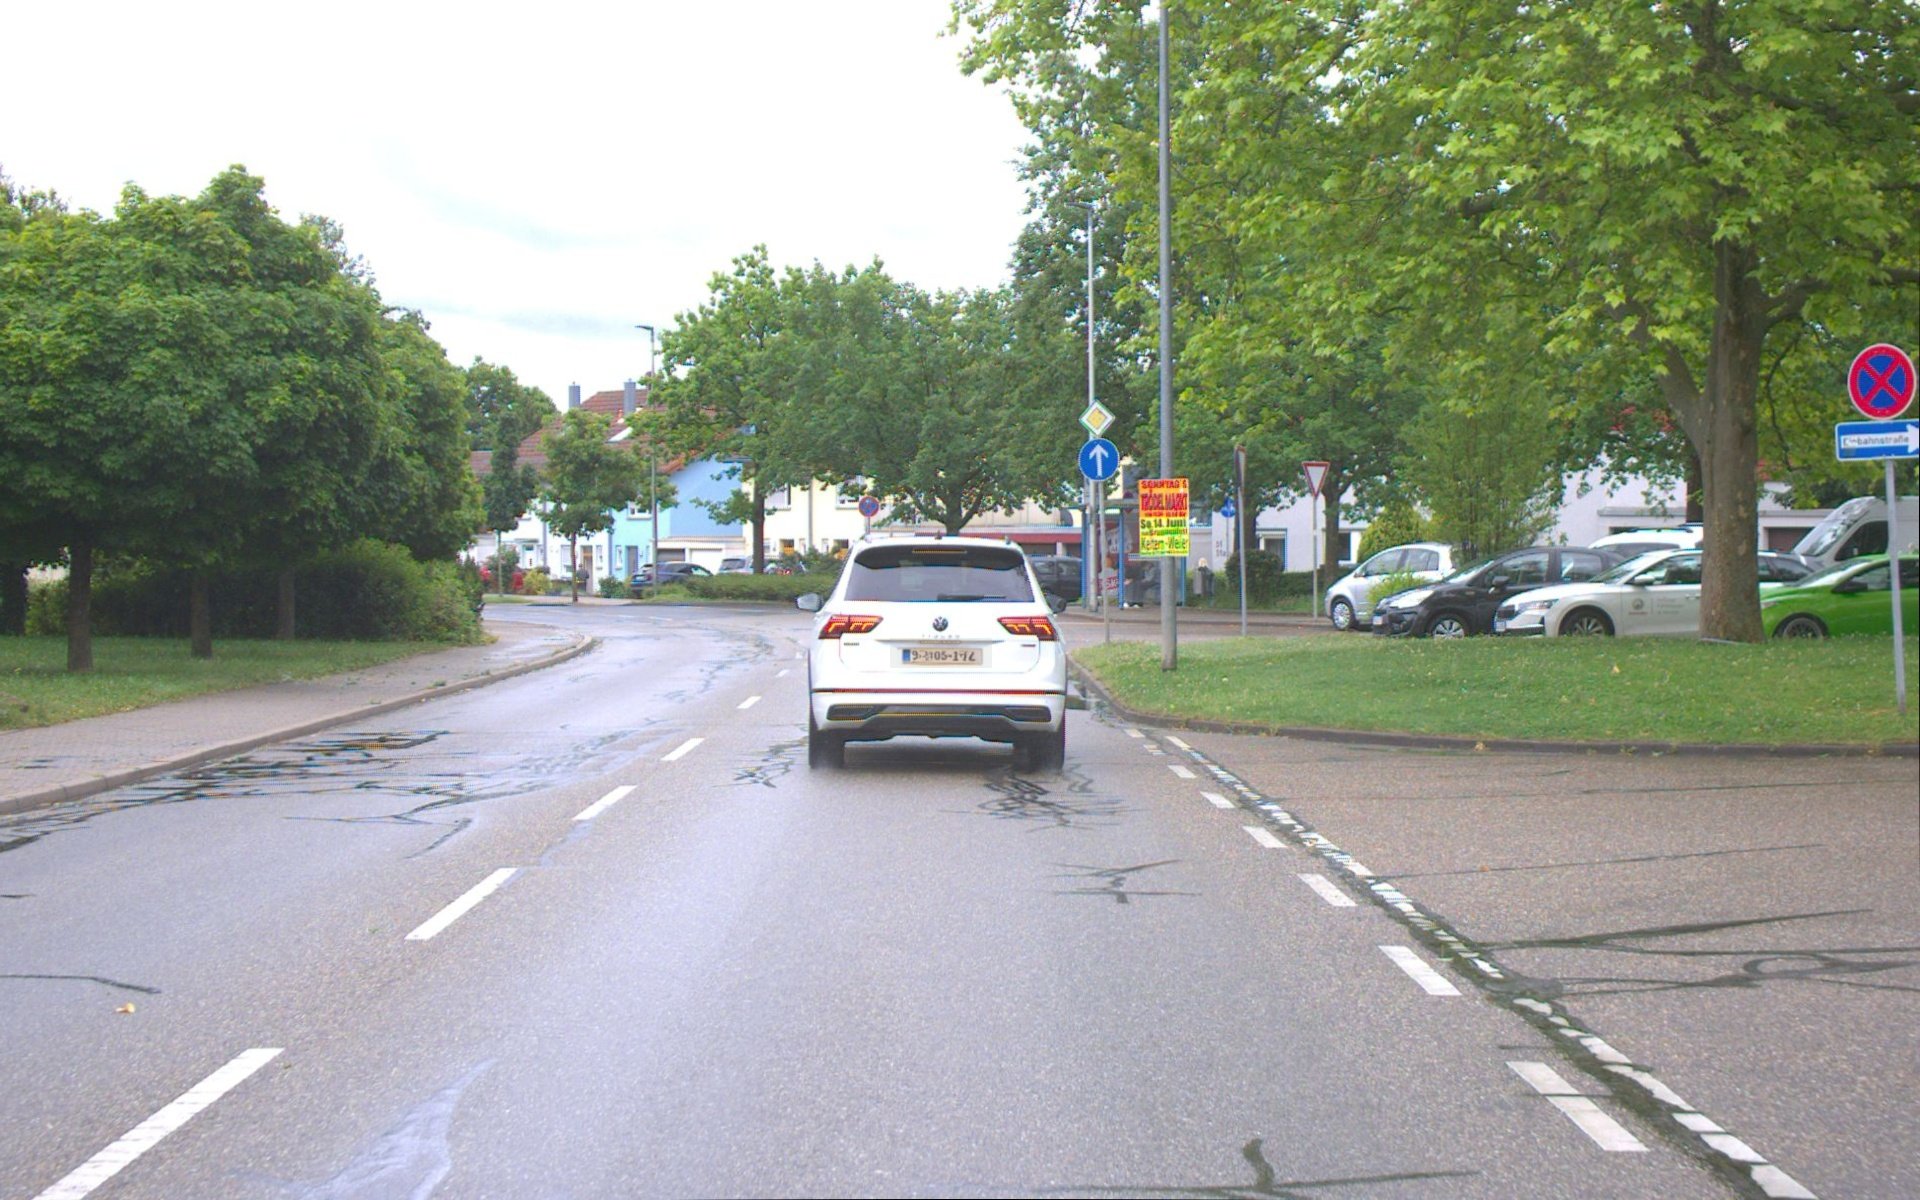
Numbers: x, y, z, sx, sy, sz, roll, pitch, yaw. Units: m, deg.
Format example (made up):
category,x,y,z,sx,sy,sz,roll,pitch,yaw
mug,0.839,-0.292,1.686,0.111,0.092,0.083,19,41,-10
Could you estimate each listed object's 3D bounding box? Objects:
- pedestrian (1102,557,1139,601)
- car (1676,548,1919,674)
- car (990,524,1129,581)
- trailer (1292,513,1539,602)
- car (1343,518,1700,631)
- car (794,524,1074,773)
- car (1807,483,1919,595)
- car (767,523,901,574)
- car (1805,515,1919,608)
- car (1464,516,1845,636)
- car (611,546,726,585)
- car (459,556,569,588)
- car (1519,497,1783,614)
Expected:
category,x,y,z,sx,sy,sz,roll,pitch,yaw
pedestrian,3.703,-0.482,79.505,0.748,1.008,0.551,-1,1,-9
car,11.072,0.104,42.441,4.009,1.438,1.765,-1,1,-6
car,3.109,-1.480,107.120,3.988,1.715,1.924,-1,1,-36
trailer,8.226,-0.774,62.424,1.994,1.537,4.425,-2,2,-34
car,7.754,-0.370,47.690,4.572,1.438,1.765,-1,1,-6
car,-0.182,0.288,25.383,1.865,1.645,4.000,-1,1,0
car,18.945,-1.195,64.065,5.818,2.007,2.001,-1,1,-11
car,-4.321,-1.783,118.213,4.180,1.666,1.991,-1,1,-34
car,14.946,-0.587,51.728,1.760,1.378,4.186,-1,1,-36
car,9.091,-0.334,45.163,4.572,1.438,1.765,-1,1,-6
car,-10.766,-1.286,126.984,3.988,1.382,1.674,-1,1,-39
car,-18.218,-1.152,140.635,4.306,1.256,1.678,0,1,-45
car,11.466,-0.756,57.304,1.993,1.874,4.213,-1,1,-31
